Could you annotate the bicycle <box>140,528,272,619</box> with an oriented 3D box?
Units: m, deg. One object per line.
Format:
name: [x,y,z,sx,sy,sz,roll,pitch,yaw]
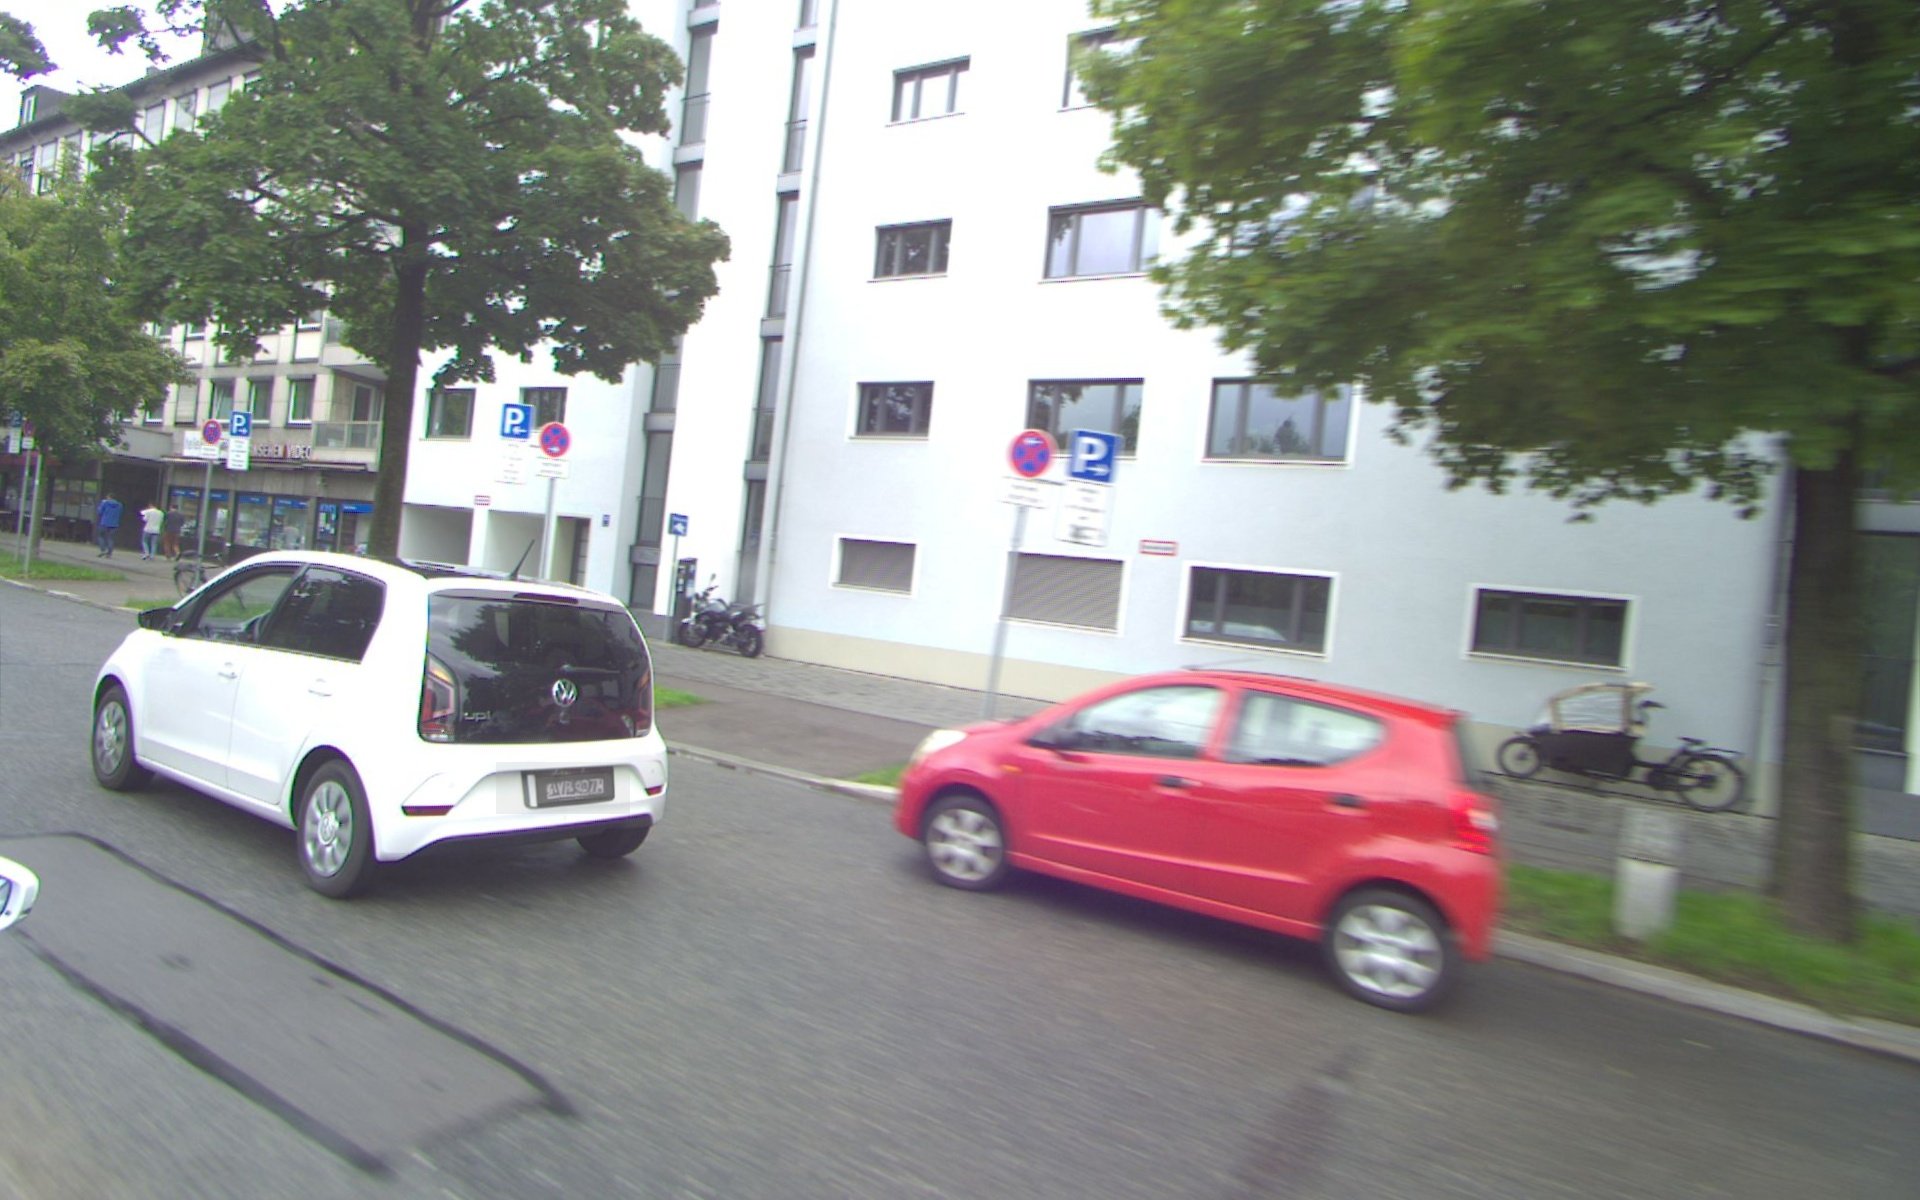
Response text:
bicycle: [-12.745,-0.448,17.001,2.108,1.271,0.456,7,1,13]

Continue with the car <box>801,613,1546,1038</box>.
car: [1.145,1.065,6.052,3.932,1.458,1.524,7,-1,29]

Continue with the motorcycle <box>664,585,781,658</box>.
motorcycle: [-4.509,0.397,19.052,2.163,1.099,0.762,7,1,32]

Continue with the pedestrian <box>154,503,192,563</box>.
pedestrian: [-23.271,-1.972,29.739,0.712,1.661,0.542,7,1,32]

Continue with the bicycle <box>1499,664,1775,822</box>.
bicycle: [8.016,1.644,12.089,2.550,1.425,0.703,7,2,32]

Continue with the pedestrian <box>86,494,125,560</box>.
pedestrian: [-23.843,-2.043,28.077,0.720,1.755,0.500,7,1,32]

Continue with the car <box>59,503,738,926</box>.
car: [-3.145,0.445,5.555,3.377,1.507,1.690,7,-1,31]

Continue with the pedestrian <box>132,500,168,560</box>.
pedestrian: [-23.327,-2.016,28.972,0.630,1.651,0.549,7,2,31]
